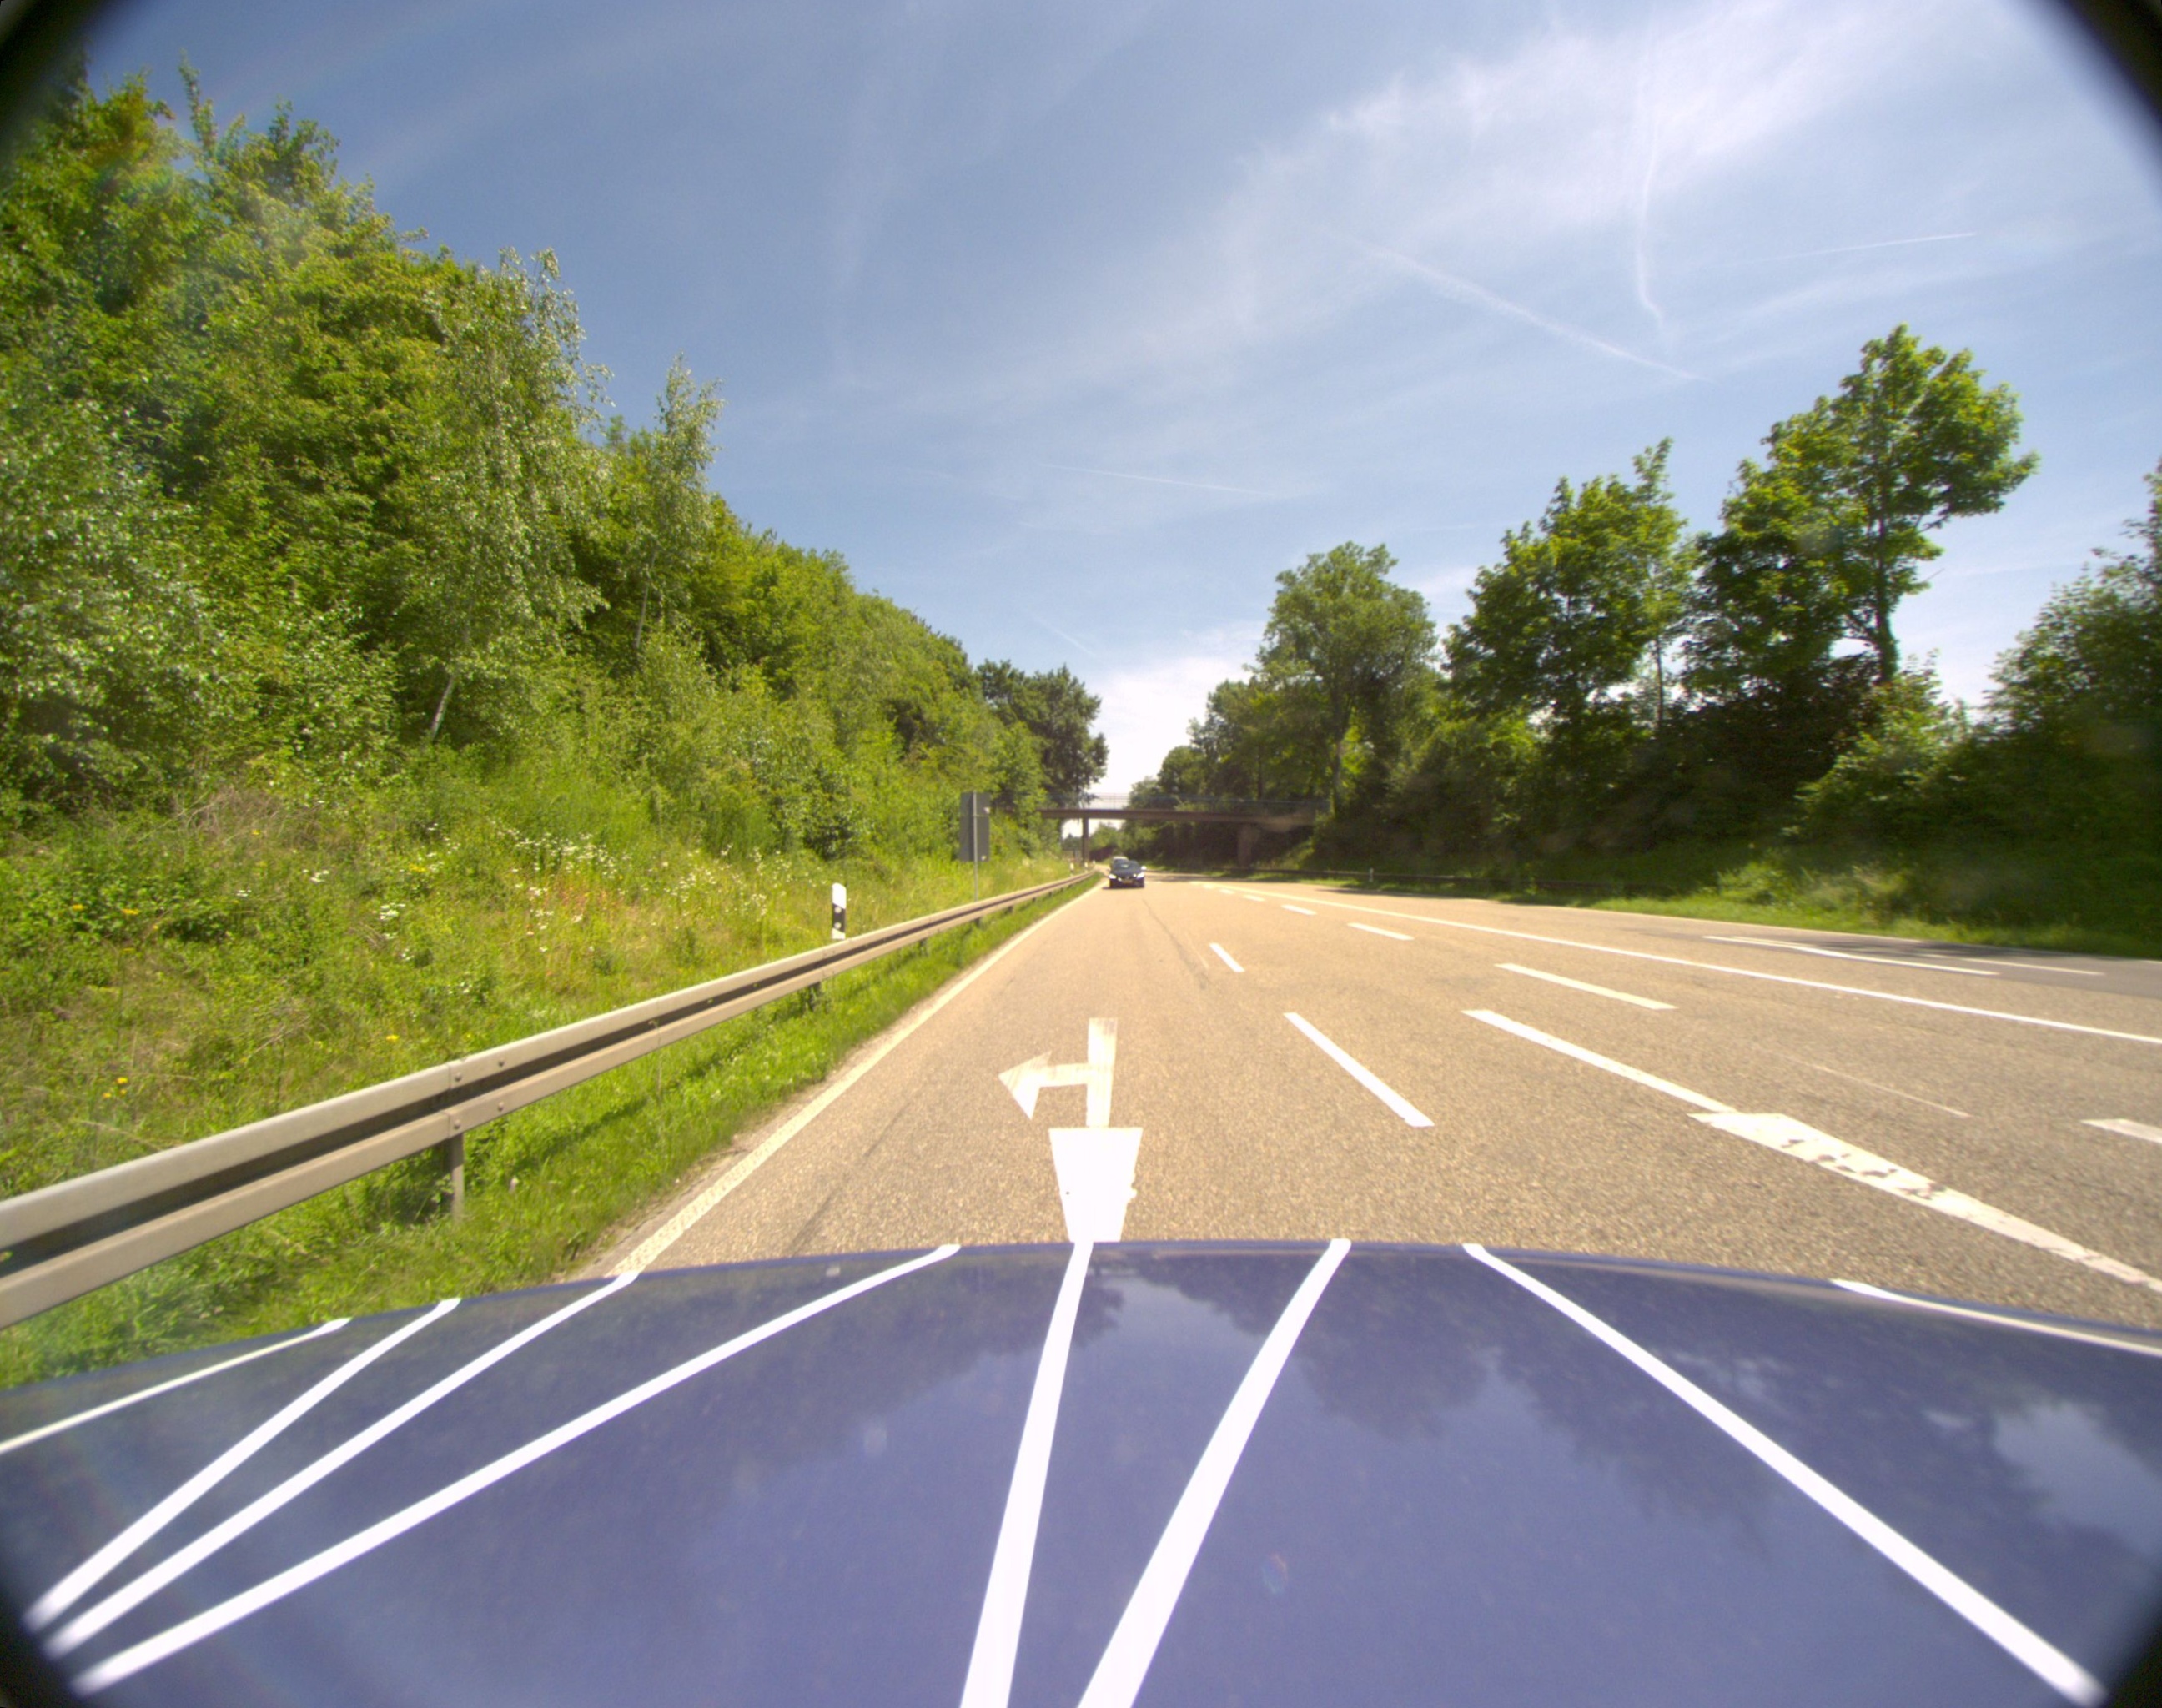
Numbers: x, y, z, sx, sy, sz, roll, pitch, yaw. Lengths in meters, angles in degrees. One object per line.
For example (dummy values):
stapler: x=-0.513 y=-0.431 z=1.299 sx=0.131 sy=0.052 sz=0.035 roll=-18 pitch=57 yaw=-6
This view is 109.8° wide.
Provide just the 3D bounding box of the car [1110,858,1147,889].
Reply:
car: x=2.435 y=0.976 z=39.483 sx=1.690 sy=1.390 sz=4.402 roll=-1 pitch=1 yaw=1
